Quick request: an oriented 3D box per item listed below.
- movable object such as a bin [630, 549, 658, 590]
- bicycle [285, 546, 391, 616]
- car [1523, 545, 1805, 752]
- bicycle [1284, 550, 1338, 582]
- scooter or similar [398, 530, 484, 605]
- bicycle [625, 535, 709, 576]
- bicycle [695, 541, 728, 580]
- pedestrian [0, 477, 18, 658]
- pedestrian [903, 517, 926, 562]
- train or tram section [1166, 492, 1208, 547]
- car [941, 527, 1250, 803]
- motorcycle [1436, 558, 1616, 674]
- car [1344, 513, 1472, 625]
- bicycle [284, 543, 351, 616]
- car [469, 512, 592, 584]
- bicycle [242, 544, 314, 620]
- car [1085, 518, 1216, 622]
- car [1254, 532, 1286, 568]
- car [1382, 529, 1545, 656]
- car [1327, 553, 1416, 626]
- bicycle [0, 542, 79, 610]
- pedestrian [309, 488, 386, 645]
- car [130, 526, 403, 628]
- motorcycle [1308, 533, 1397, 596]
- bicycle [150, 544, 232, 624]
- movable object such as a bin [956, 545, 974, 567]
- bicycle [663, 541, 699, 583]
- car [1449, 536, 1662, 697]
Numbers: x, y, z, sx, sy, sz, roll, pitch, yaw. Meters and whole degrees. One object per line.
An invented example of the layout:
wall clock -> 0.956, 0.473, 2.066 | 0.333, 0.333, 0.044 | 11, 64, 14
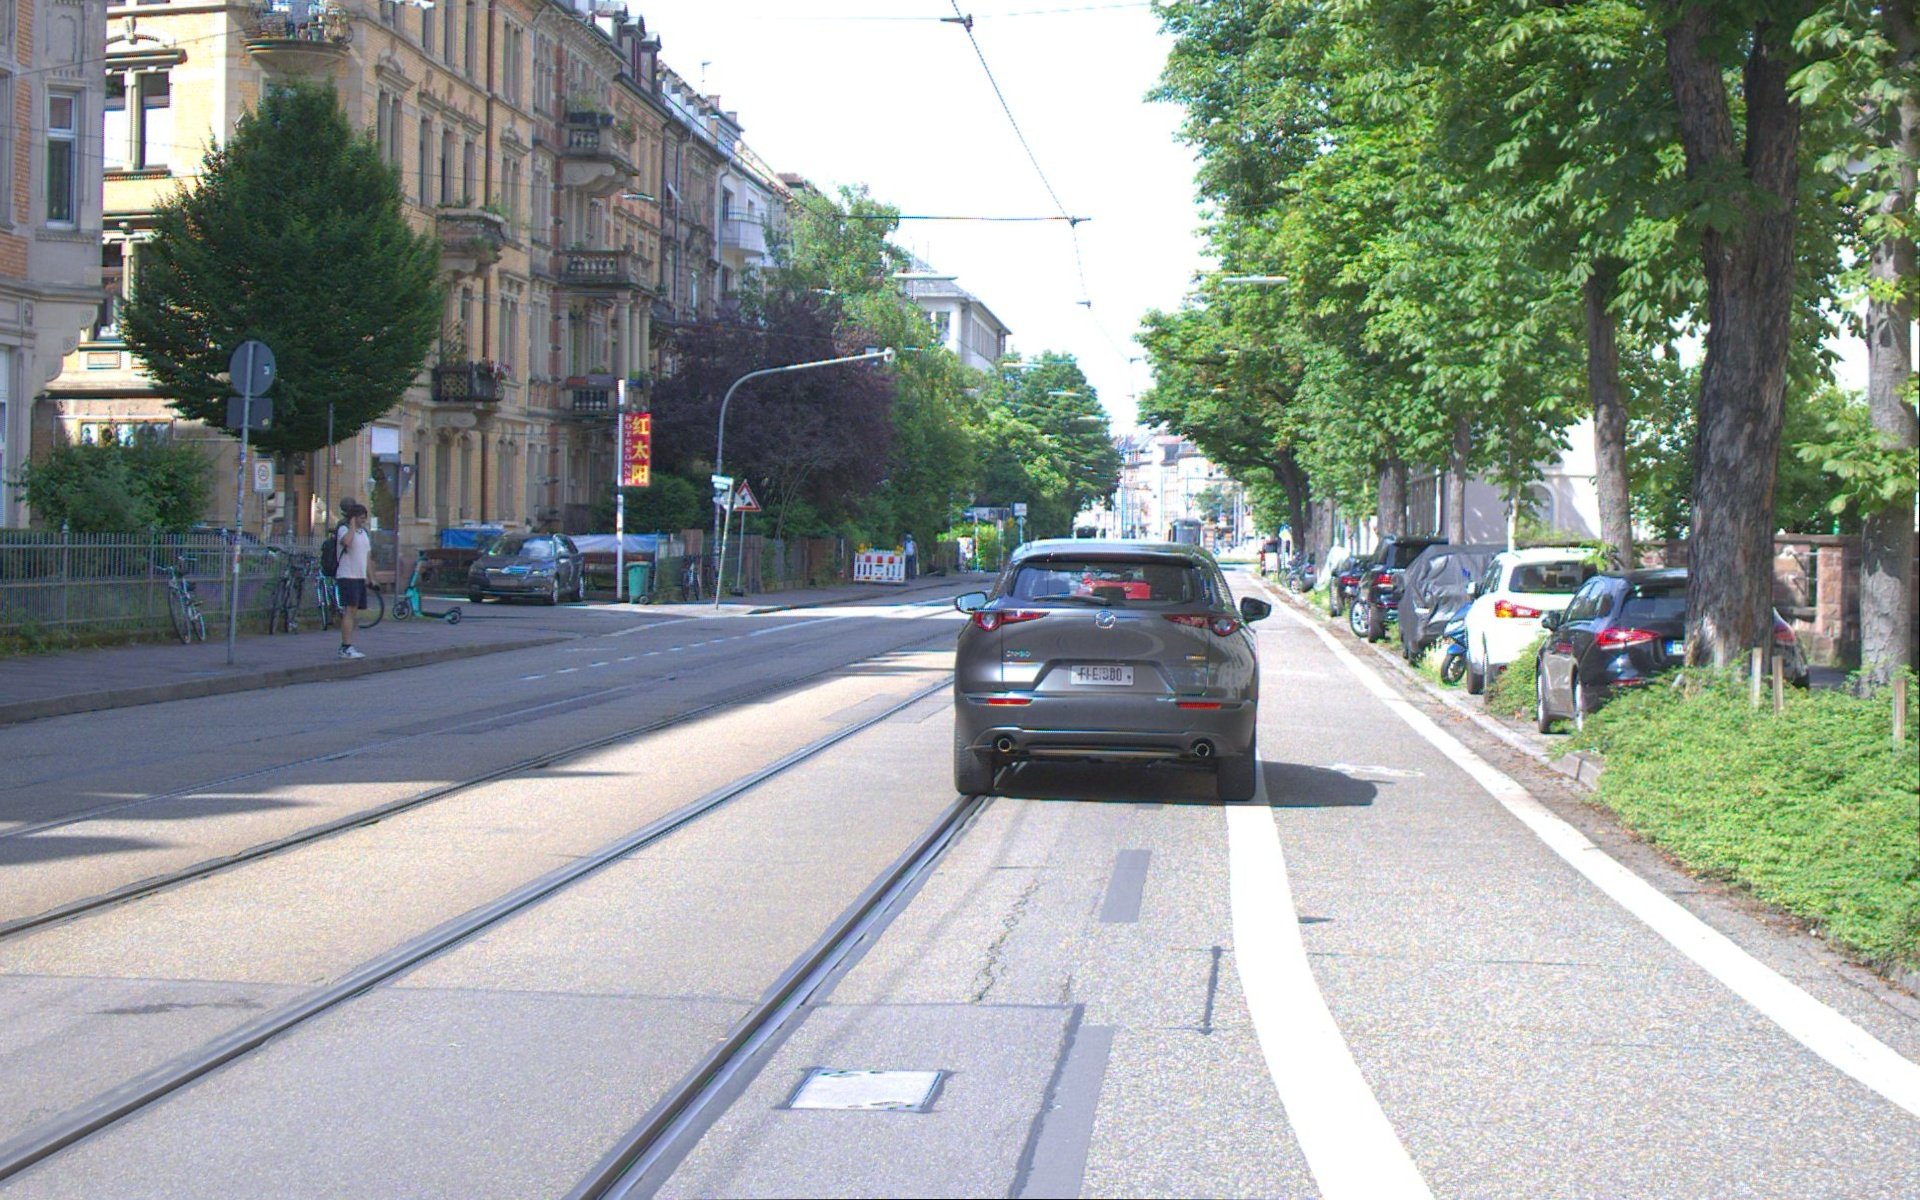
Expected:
movable object such as a bin -> -6.961, -0.675, 75.744 | 0.525, 0.902, 0.636 | 1, 1, 3
bicycle -> -9.028, -0.279, 49.894 | 1.453, 0.973, 0.404 | 1, 1, 4
car -> 5.737, 0.337, 28.464 | 1.661, 1.516, 4.287 | 2, 1, 3
bicycle -> 13.111, -1.265, 128.281 | 1.938, 1.172, 0.512 | 0, 0, 16
scooter or similar -> -8.848, -0.556, 58.636 | 1.361, 1.230, 0.404 | 2, 1, -24
bicycle -> -7.012, -1.058, 82.306 | 1.961, 0.943, 0.532 | 1, 1, 0
bicycle -> -6.047, -0.968, 83.717 | 0.530, 0.943, 1.968 | 1, 1, 4
pedestrian -> -9.276, -0.307, 32.253 | 0.487, 1.697, 1.151 | 1, 1, 2
pedestrian -> -1.773, -2.341, 133.376 | 0.822, 1.700, 0.891 | 1, 1, 1
train or tram section -> 16.341, -5.775, 247.942 | 2.572, 3.759, 13.025 | 1, 1, 2
car -> 0.891, 0.333, 21.253 | 1.721, 1.521, 3.589 | 1, 1, 4
motorcycle -> 6.791, 0.186, 41.322 | 2.006, 1.332, 0.747 | 1, 1, 1
car -> 7.464, -0.558, 57.657 | 1.827, 1.776, 4.733 | 1, 1, 4
bicycle -> -8.890, -0.290, 47.615 | 0.421, 0.973, 1.949 | 1, 1, 4
car -> -9.171, -1.122, 73.719 | 1.685, 1.454, 4.764 | 1, 1, 4
bicycle -> -9.027, -0.252, 45.556 | 0.421, 0.973, 1.949 | 1, 1, 4
car -> 3.163, -0.508, 56.552 | 1.994, 1.523, 4.000 | 3, 1, 4
car -> 17.217, -2.790, 190.863 | 1.721, 1.962, 4.206 | 1, 1, 5
car -> 6.987, -0.147, 48.091 | 1.863, 1.647, 4.637 | 1, 1, 4
car -> 9.223, -0.257, 77.244 | 1.706, 1.474, 4.196 | 3, 1, 4
bicycle -> -13.588, -0.355, 49.996 | 1.453, 0.973, 0.404 | 1, 1, 4
pedestrian -> -7.079, -0.392, 39.771 | 0.533, 1.754, 1.105 | 3, 1, 4
car -> -10.392, -0.361, 51.624 | 3.605, 1.398, 1.786 | 2, 2, 9
motorcycle -> 10.574, -0.964, 92.754 | 2.386, 1.591, 0.677 | 4, 3, 43
bicycle -> -9.255, -0.203, 41.430 | 0.421, 0.929, 1.949 | 1, 1, 4
movable object such as a bin -> 0.253, -2.103, 164.371 | 0.745, 0.984, 1.114 | 3, 1, 4
bicycle -> -6.458, -0.886, 79.586 | 0.530, 0.943, 1.968 | 1, 1, 4
car -> 6.303, 0.126, 36.756 | 1.742, 1.575, 4.248 | 2, 1, 3
